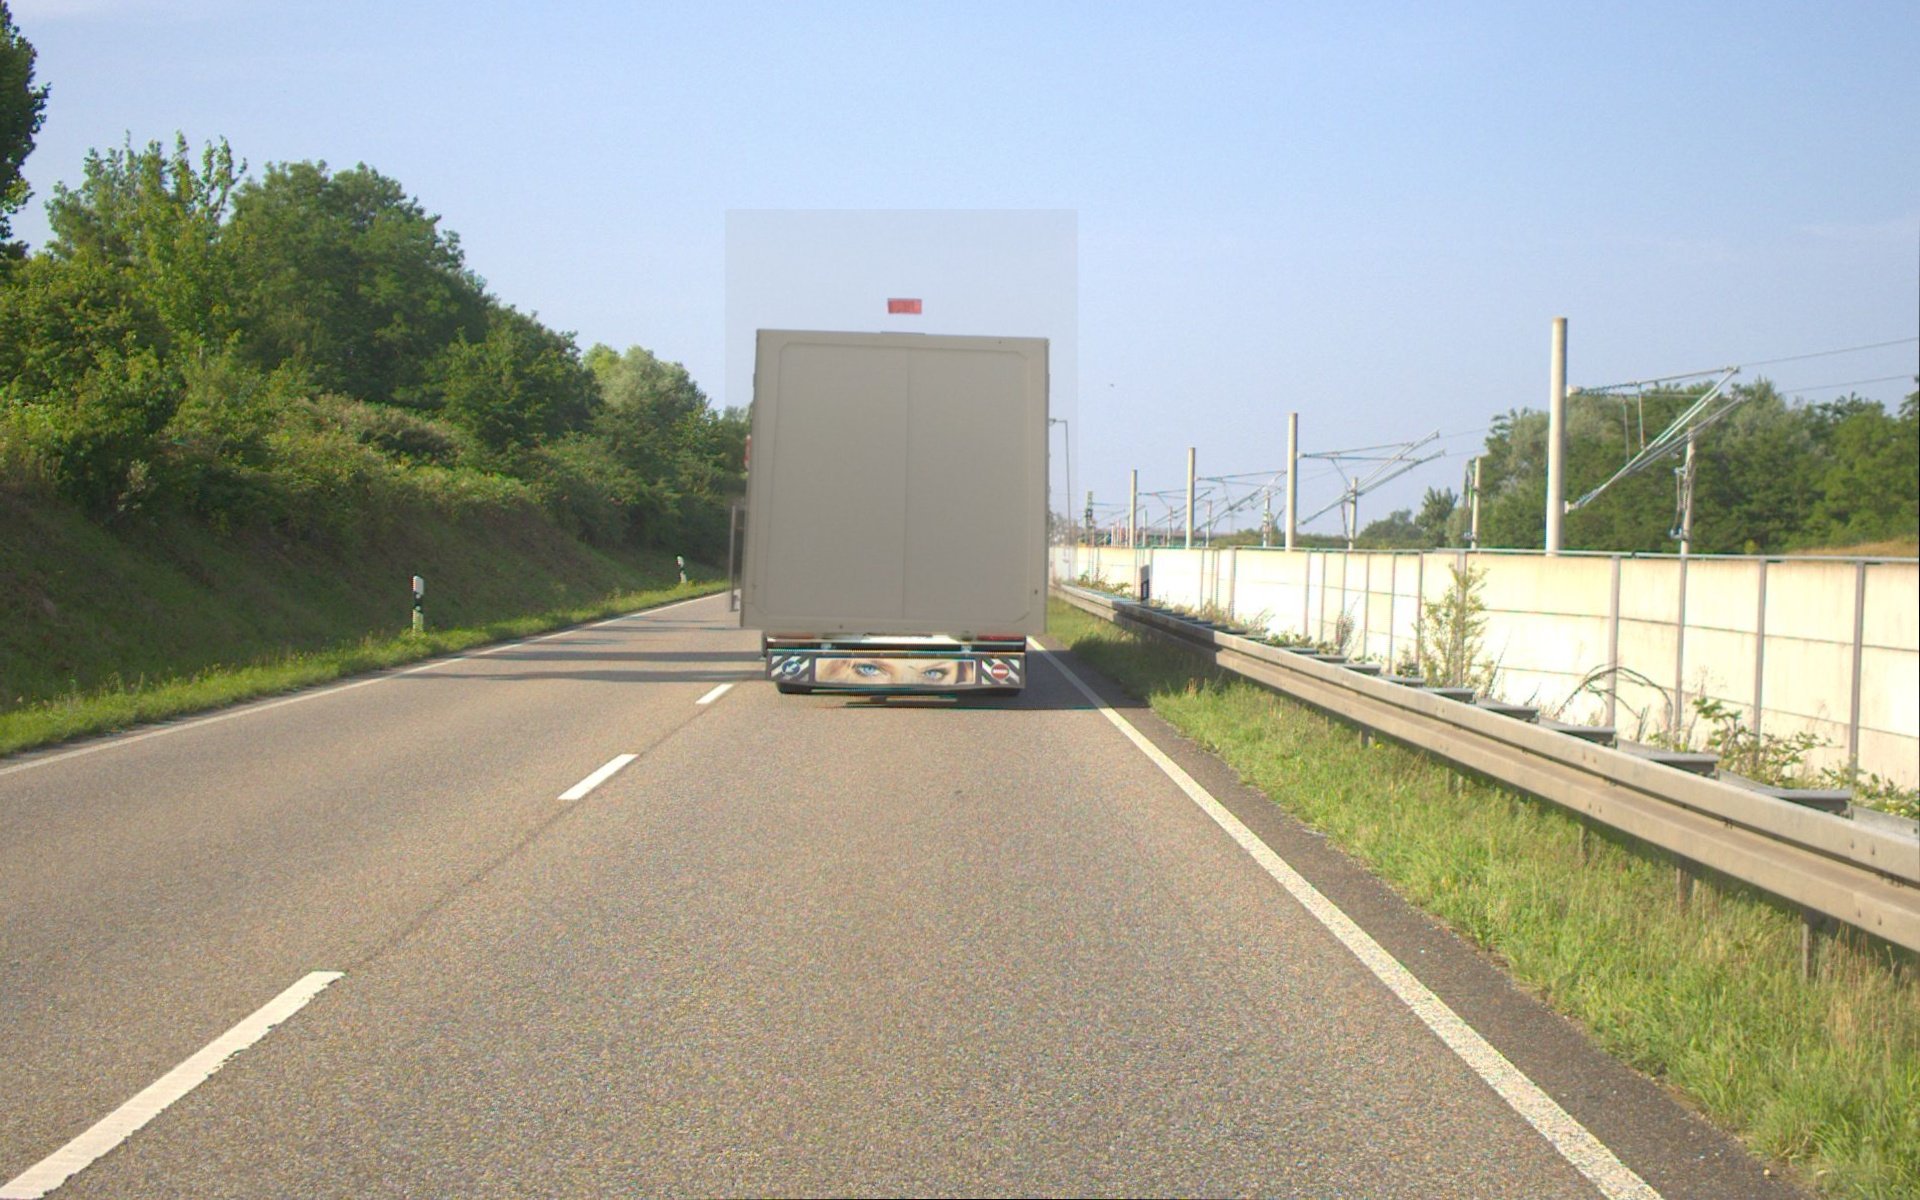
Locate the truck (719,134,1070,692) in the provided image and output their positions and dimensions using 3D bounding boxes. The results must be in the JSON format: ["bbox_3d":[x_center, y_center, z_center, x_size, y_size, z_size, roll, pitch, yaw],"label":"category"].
[{"bbox_3d":[-0.747,-1.763,36.361,3.033,4.903,11.685,1,1,-2],"label":"truck"}]
